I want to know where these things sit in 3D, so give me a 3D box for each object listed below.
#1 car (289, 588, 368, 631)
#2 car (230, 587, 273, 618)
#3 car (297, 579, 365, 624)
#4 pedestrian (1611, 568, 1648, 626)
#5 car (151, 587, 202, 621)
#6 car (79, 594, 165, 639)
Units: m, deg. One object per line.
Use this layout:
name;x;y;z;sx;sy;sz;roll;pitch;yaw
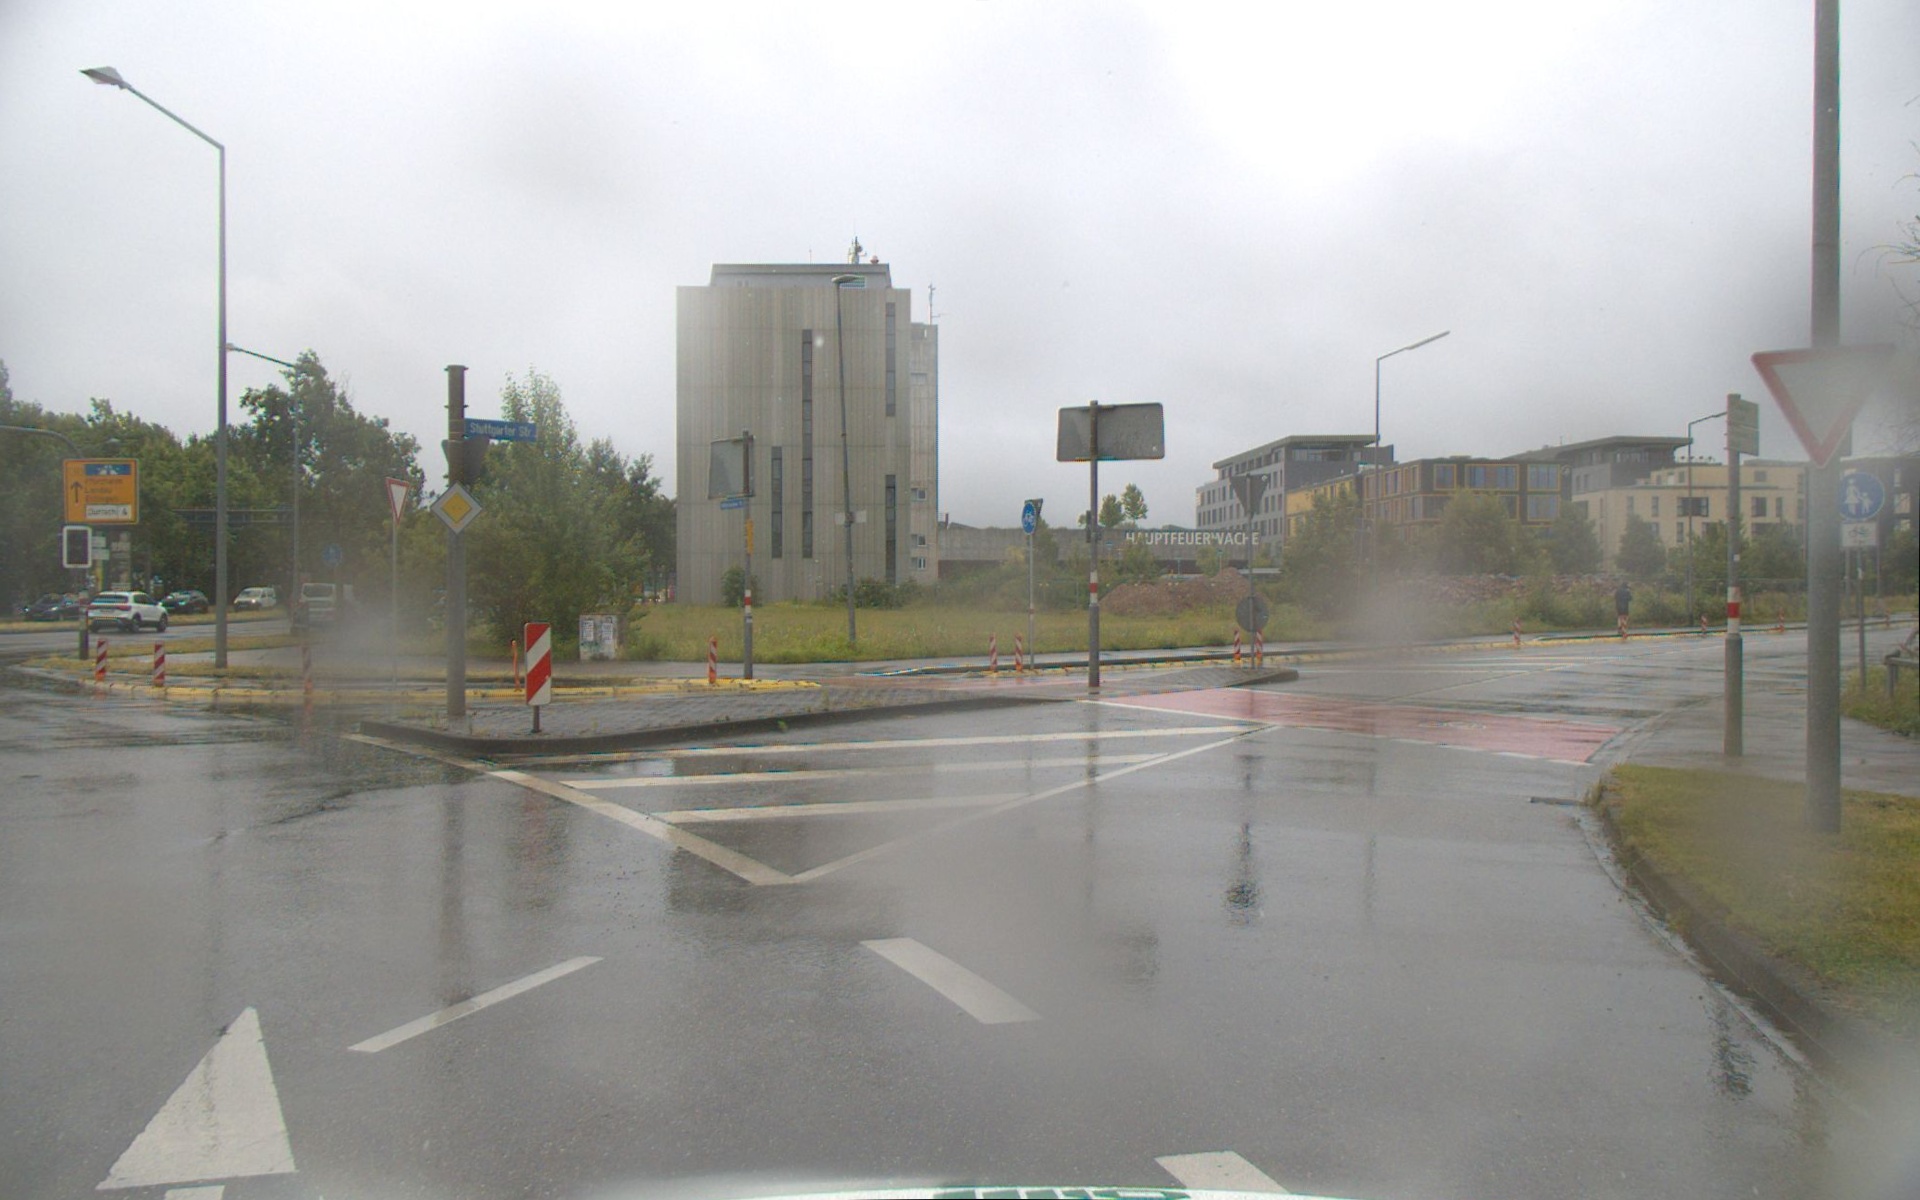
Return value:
car;-27.812;0.373;72.998;1.747;1.842;4.836;0;0;-2
car;-49.794;0.205;116.320;1.754;2.049;3.668;2;-1;-7
car;-31.181;0.099;82.122;1.747;2.072;4.000;1;-1;0
pedestrian;24.192;-0.090;59.737;1.122;2.049;0.835;3;-2;-43
car;-49.361;0.280;104.261;1.754;2.049;3.668;2;-1;-7
car;-33.120;0.672;65.485;1.648;1.676;3.942;2;-1;-6
